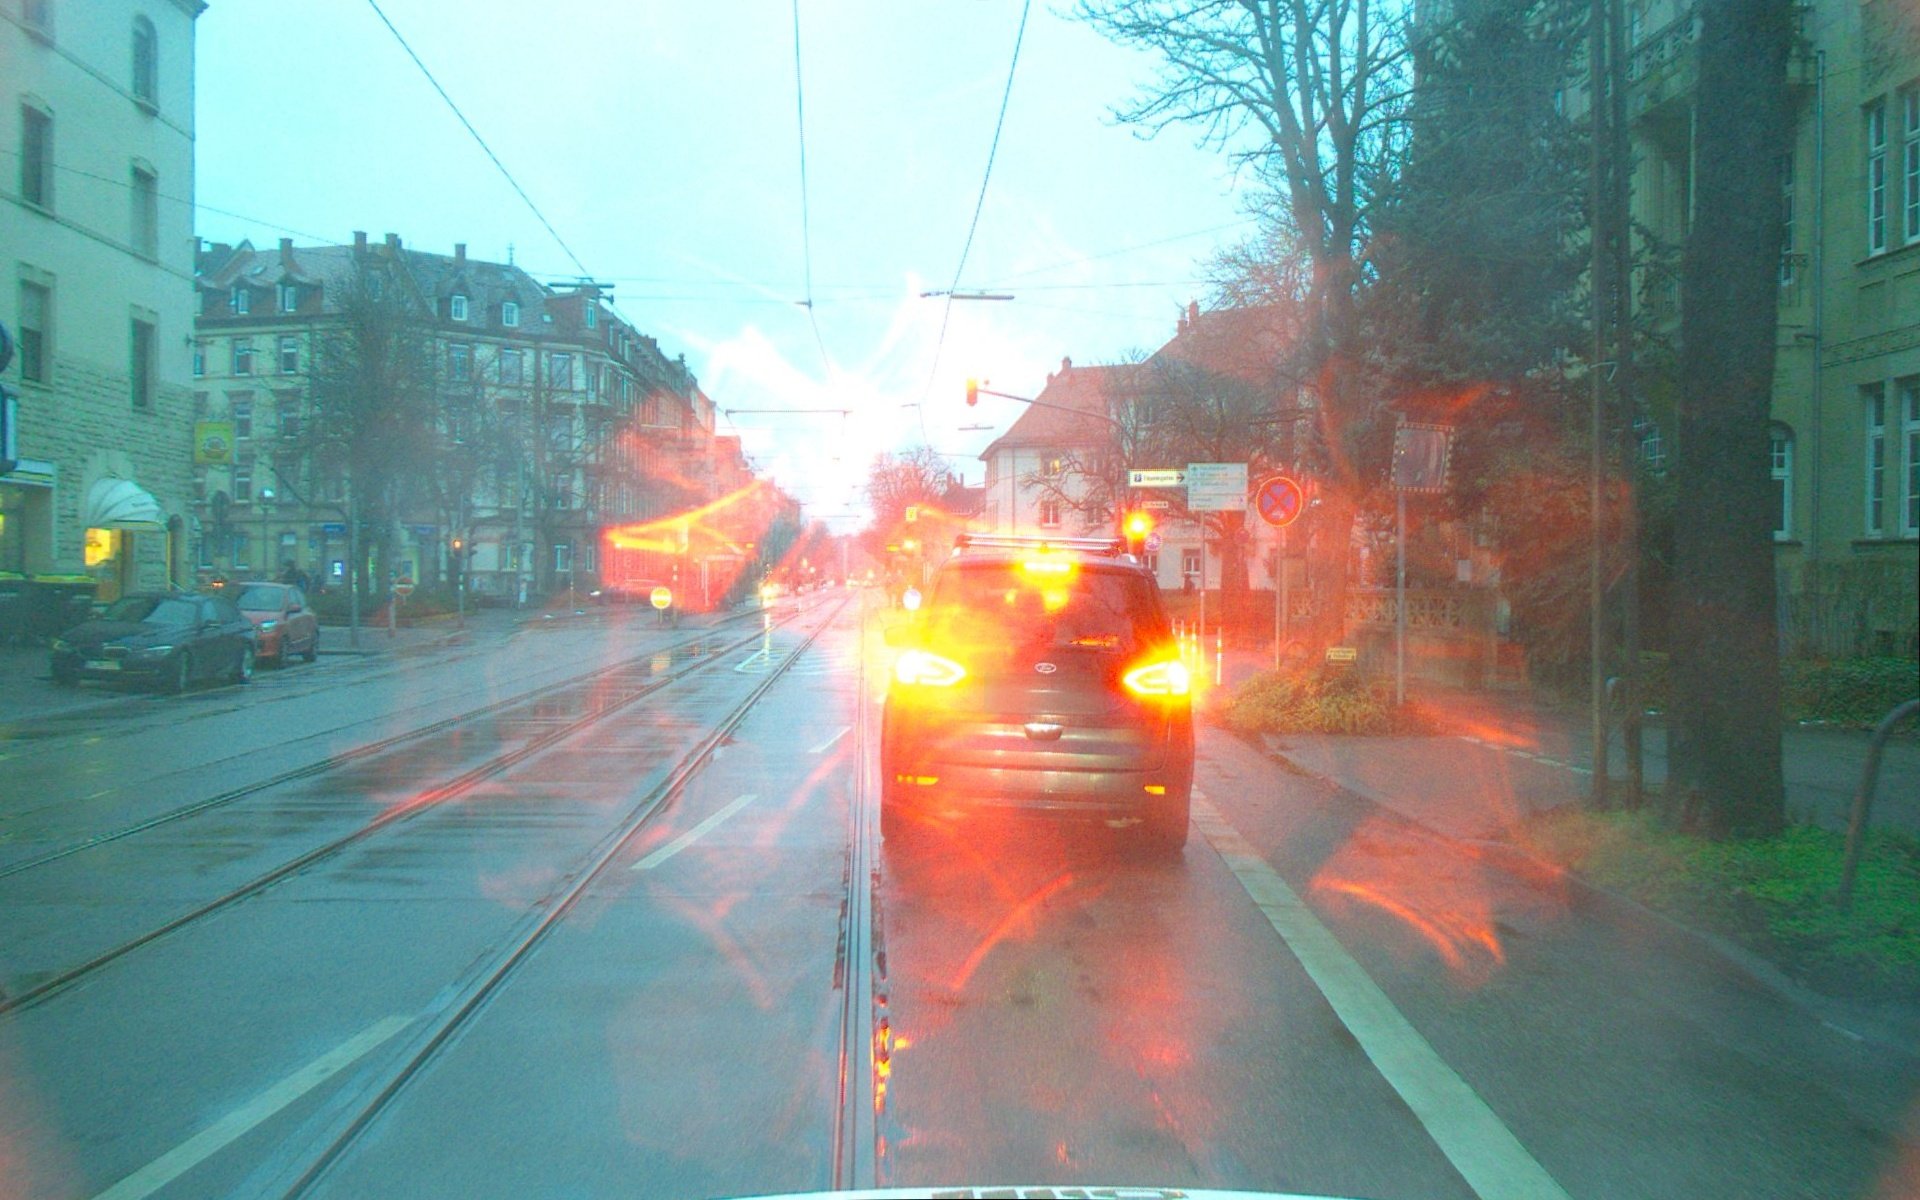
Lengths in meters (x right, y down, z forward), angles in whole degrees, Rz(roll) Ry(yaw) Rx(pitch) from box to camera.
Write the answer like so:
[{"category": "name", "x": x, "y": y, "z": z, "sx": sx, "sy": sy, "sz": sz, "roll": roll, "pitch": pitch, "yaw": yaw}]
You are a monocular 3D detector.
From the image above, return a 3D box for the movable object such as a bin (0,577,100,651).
[{"category": "movable object such as a bin", "x": -17.459, "y": 0.257, "z": 31.742, "sx": 1.268, "sy": 1.391, "sz": 1.251, "roll": 1, "pitch": 0, "yaw": -3}]

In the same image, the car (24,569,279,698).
[{"category": "car", "x": -12.523, "y": 0.483, "z": 26.006, "sx": 1.948, "sy": 1.674, "sz": 4.625, "roll": 5, "pitch": -1, "yaw": -5}]

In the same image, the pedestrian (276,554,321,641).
[{"category": "pedestrian", "x": -15.786, "y": -0.062, "z": 39.464, "sx": 0.742, "sy": 2.049, "sz": 0.646, "roll": 1, "pitch": 0, "yaw": 33}]

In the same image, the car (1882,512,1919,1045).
[{"category": "car", "x": 4.542, "y": 0.661, "z": 3.717, "sx": 1.990, "sy": 1.908, "sz": 4.961, "roll": 0, "pitch": 1, "yaw": -3}]

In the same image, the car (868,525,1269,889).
[{"category": "car", "x": 0.542, "y": 0.544, "z": 11.068, "sx": 2.061, "sy": 1.848, "sz": 4.660, "roll": 2, "pitch": 1, "yaw": -1}]

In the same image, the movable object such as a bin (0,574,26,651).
[{"category": "movable object such as a bin", "x": -17.904, "y": 0.214, "z": 30.443, "sx": 0.881, "sy": 1.401, "sz": 1.006, "roll": 1, "pitch": 0, "yaw": -3}]

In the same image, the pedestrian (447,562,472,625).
[{"category": "pedestrian", "x": -16.322, "y": -0.219, "z": 53.931, "sx": 0.695, "sy": 2.049, "sz": 0.656, "roll": 0, "pitch": 0, "yaw": -22}]

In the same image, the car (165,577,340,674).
[{"category": "car", "x": -13.522, "y": 0.435, "z": 31.873, "sx": 2.000, "sy": 1.578, "sz": 4.025, "roll": 4, "pitch": 1, "yaw": -8}]

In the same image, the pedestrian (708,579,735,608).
[{"category": "pedestrian", "x": -10.377, "y": -0.290, "z": 71.950, "sx": 1.026, "sy": 1.221, "sz": 0.884, "roll": 1, "pitch": 0, "yaw": -2}]
